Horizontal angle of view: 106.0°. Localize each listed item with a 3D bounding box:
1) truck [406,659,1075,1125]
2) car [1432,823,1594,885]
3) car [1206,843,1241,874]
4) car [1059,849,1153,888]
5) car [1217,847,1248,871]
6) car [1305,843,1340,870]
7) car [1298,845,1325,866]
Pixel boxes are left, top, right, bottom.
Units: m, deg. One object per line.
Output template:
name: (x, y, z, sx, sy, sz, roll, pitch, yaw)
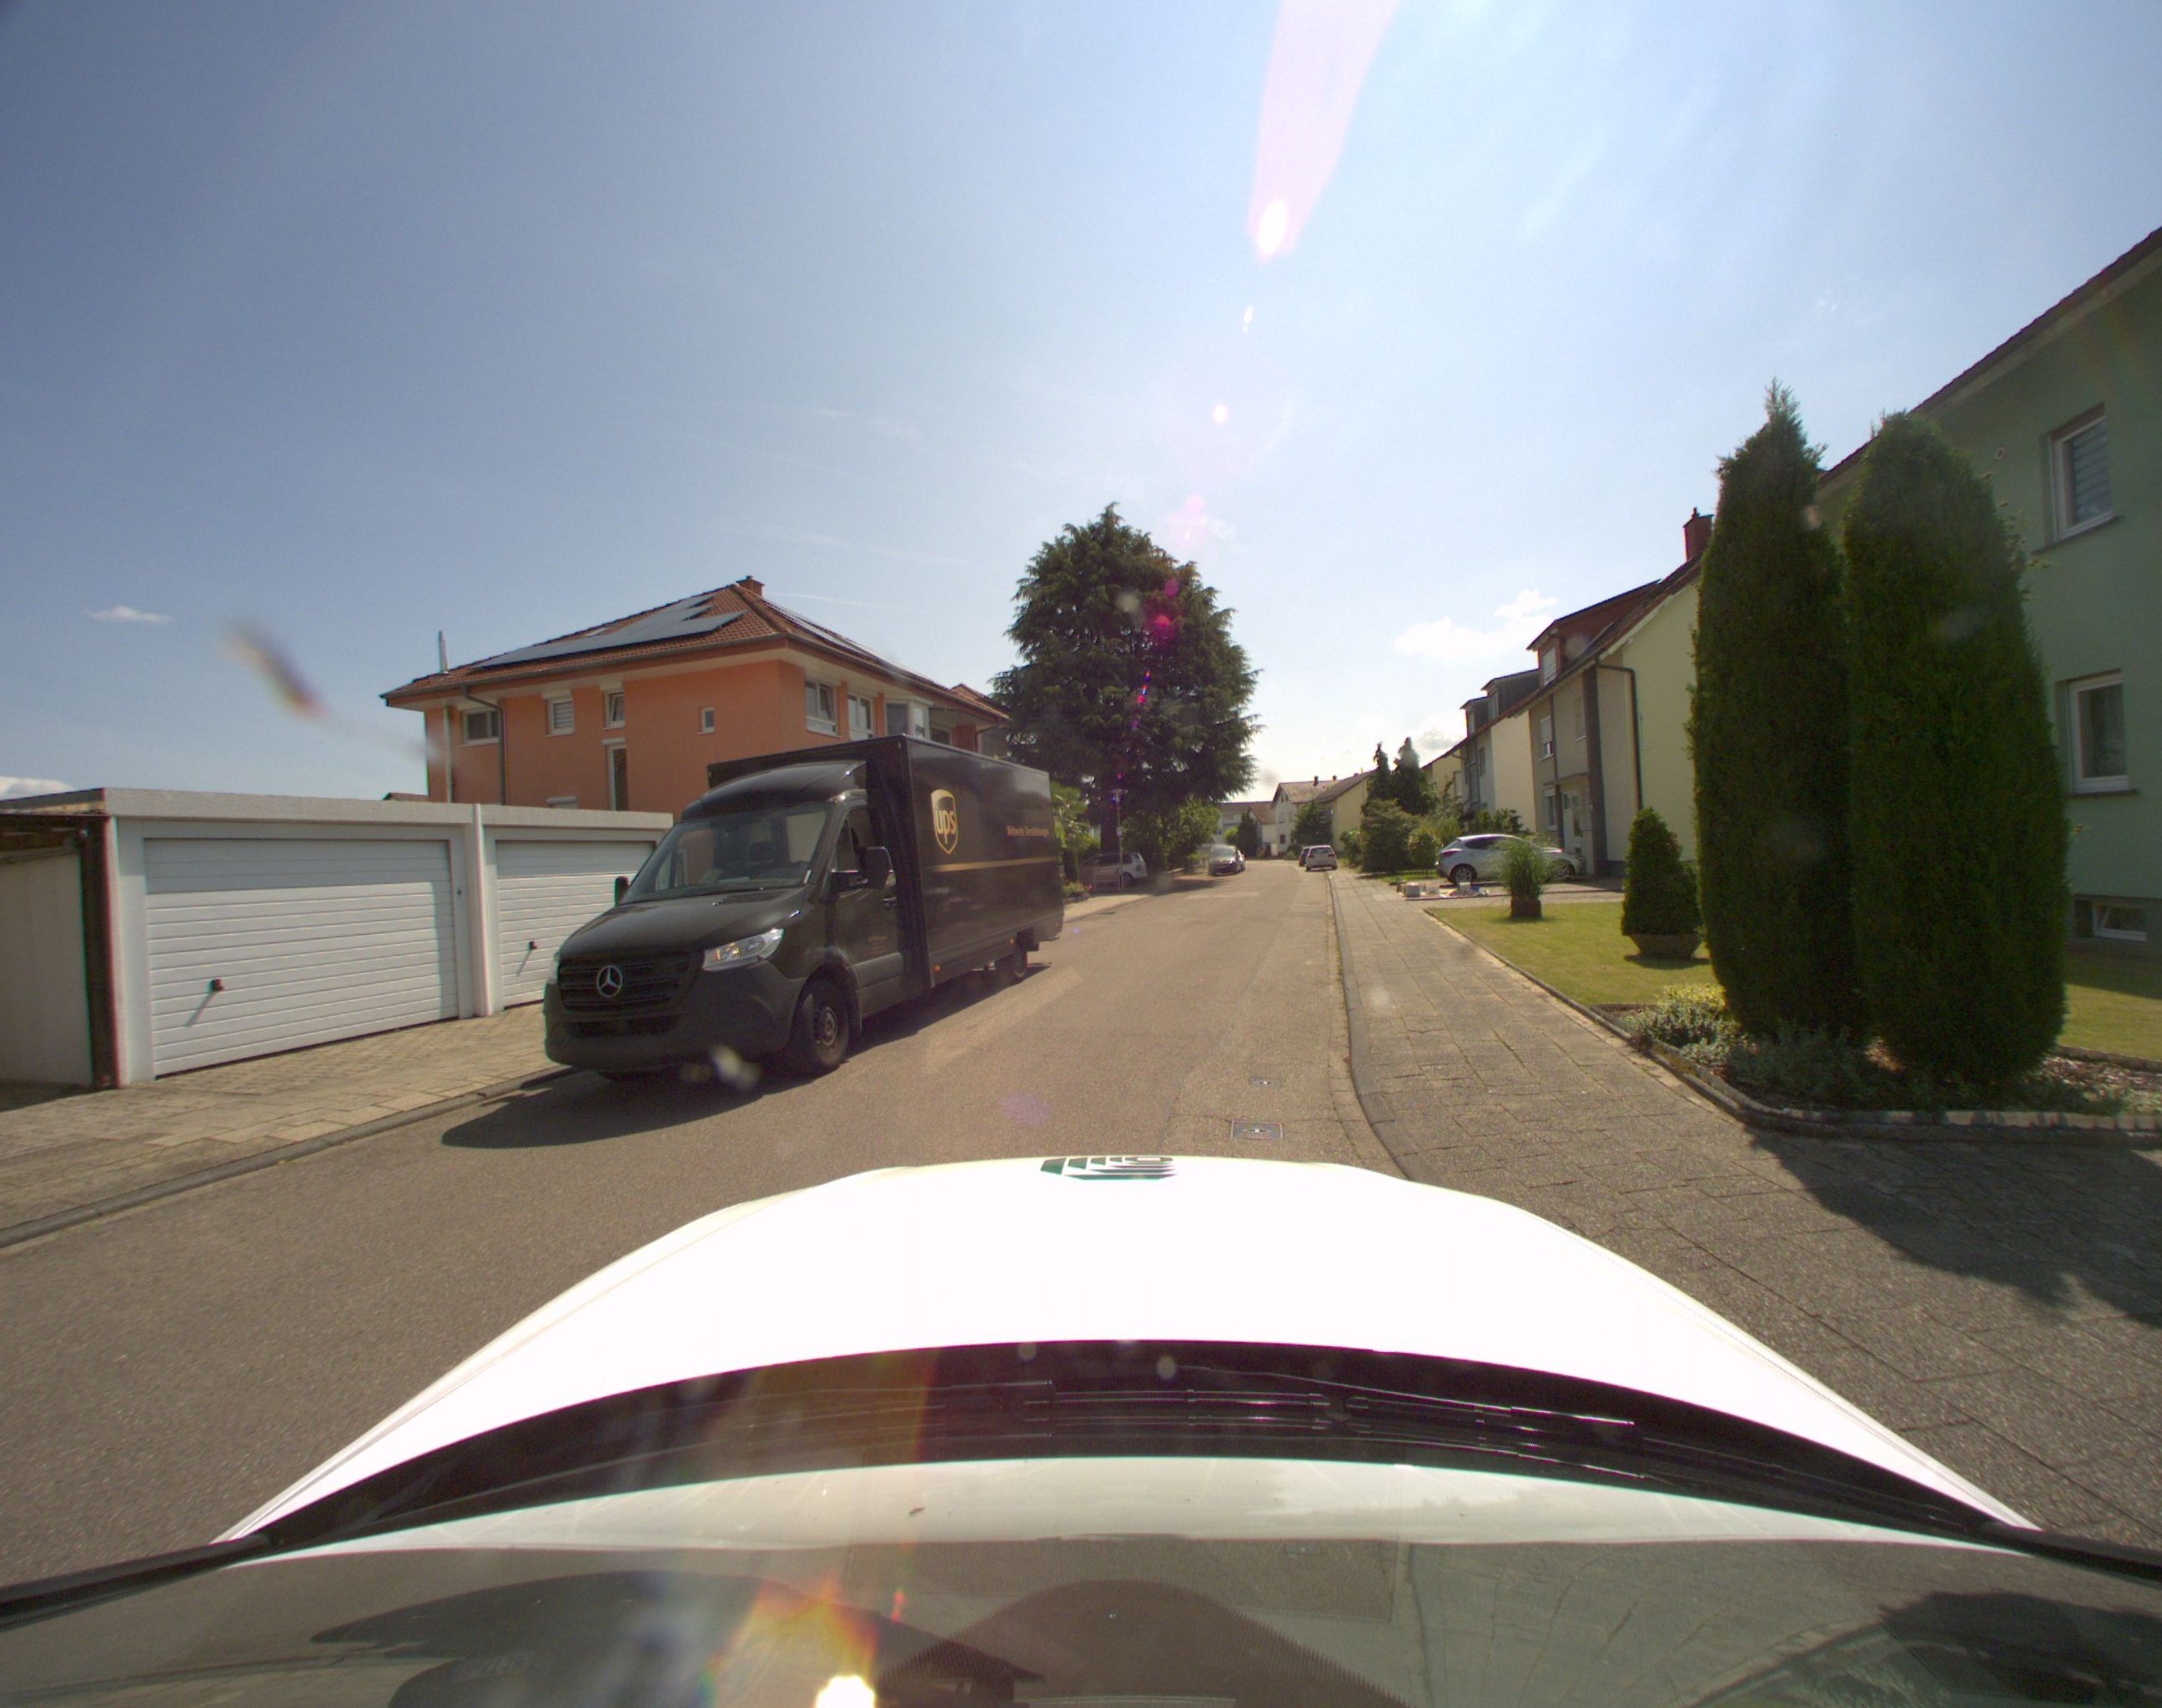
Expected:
truck: (-2.349, 0.287, 8.772, 2.415, 2.787, 7.328, -6, -1, 15)
car: (12.609, 0.016, 24.050, 3.883, 1.510, 1.782, -4, -1, 17)
car: (8.872, 0.264, 50.485, 1.795, 1.763, 4.222, -3, 0, 14)
car: (1.223, 0.710, 39.784, 4.158, 1.653, 1.823, -3, 0, 19)
car: (10.516, 0.332, 56.451, 1.795, 1.495, 4.015, -3, 0, 14)
car: (14.590, 0.115, 49.364, 1.795, 1.495, 4.015, -3, 0, 14)
car: (17.545, 0.079, 62.040, 1.795, 1.495, 4.015, -3, 0, 14)
